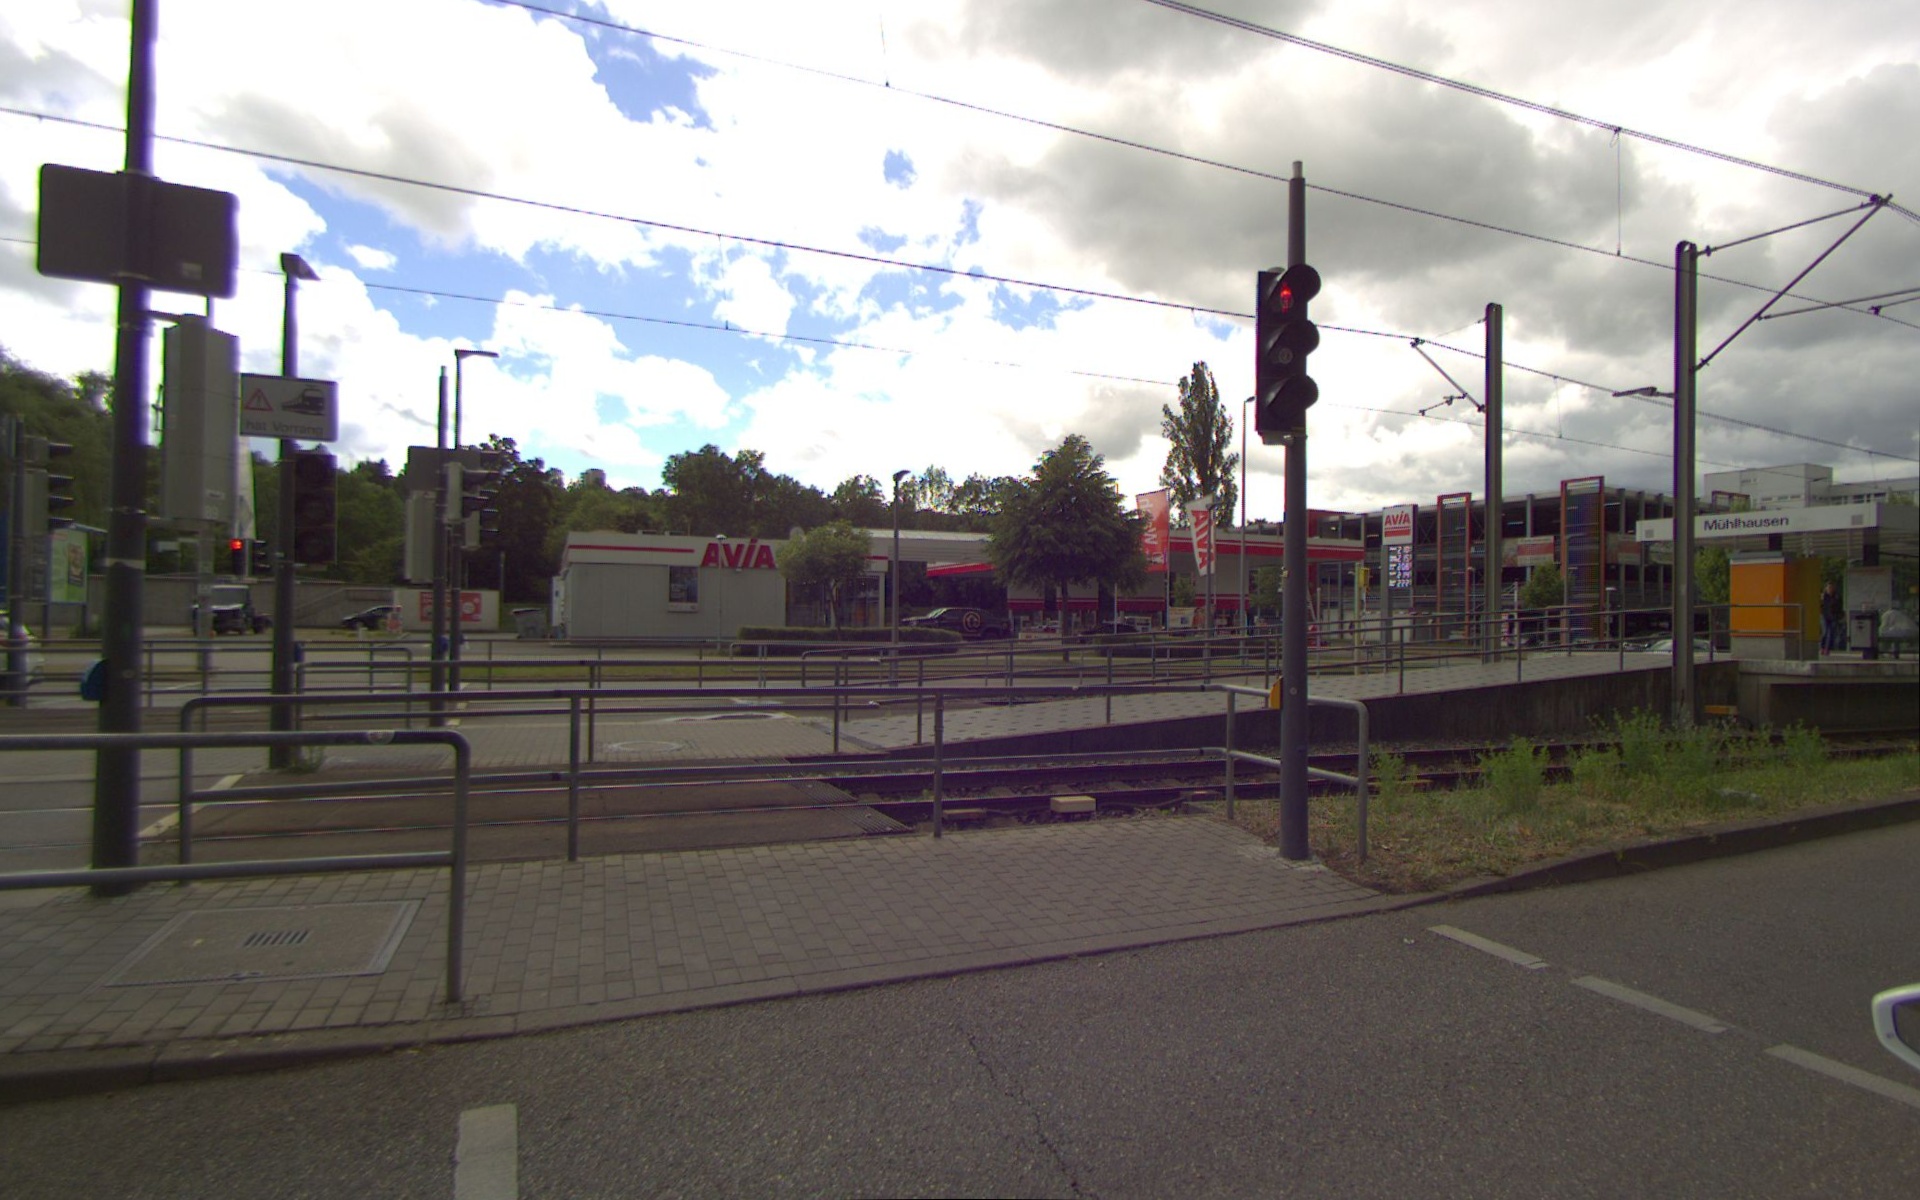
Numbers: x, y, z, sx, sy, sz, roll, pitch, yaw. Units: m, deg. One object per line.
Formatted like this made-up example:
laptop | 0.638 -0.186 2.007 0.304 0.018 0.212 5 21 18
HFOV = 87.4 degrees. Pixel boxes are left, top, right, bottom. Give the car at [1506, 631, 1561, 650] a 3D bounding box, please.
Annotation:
car | 42.575 3.032 74.563 3.751 1.327 1.844 2 -3 -27

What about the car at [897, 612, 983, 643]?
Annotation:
car | -0.912 1.258 45.880 3.587 1.368 1.608 1 -1 -25

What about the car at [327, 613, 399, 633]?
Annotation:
car | -38.215 1.483 64.323 3.852 1.136 1.558 2 -3 -36

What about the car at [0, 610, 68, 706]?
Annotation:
car | -16.312 0.859 15.313 3.787 1.473 1.618 2 -1 -32

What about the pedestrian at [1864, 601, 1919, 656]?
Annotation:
pedestrian | 21.117 0.644 22.721 0.718 1.205 0.767 1 -1 -23

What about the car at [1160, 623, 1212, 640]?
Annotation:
car | 18.601 2.598 82.656 4.009 1.383 1.902 2 -3 -29

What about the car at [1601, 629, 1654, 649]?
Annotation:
car | 52.735 3.085 79.367 3.949 1.559 1.770 1 -2 -27

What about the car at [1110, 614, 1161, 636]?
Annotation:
car | 15.101 2.194 86.502 4.009 1.775 1.902 2 -3 -29

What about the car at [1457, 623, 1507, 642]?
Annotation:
car | 40.830 2.553 78.545 3.514 1.433 1.710 2 -3 -27

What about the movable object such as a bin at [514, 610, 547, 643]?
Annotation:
movable object such as a bin | -20.453 1.265 47.822 1.352 1.514 1.100 1 -2 -21

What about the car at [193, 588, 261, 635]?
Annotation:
car | -34.387 0.590 47.223 1.823 2.078 4.352 2 -3 -27

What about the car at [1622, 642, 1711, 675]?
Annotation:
car | 31.796 2.622 45.186 3.978 1.368 1.607 1 -1 -27

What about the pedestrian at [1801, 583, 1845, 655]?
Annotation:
pedestrian | 20.041 0.445 23.326 0.578 1.641 0.568 2 -2 -27
